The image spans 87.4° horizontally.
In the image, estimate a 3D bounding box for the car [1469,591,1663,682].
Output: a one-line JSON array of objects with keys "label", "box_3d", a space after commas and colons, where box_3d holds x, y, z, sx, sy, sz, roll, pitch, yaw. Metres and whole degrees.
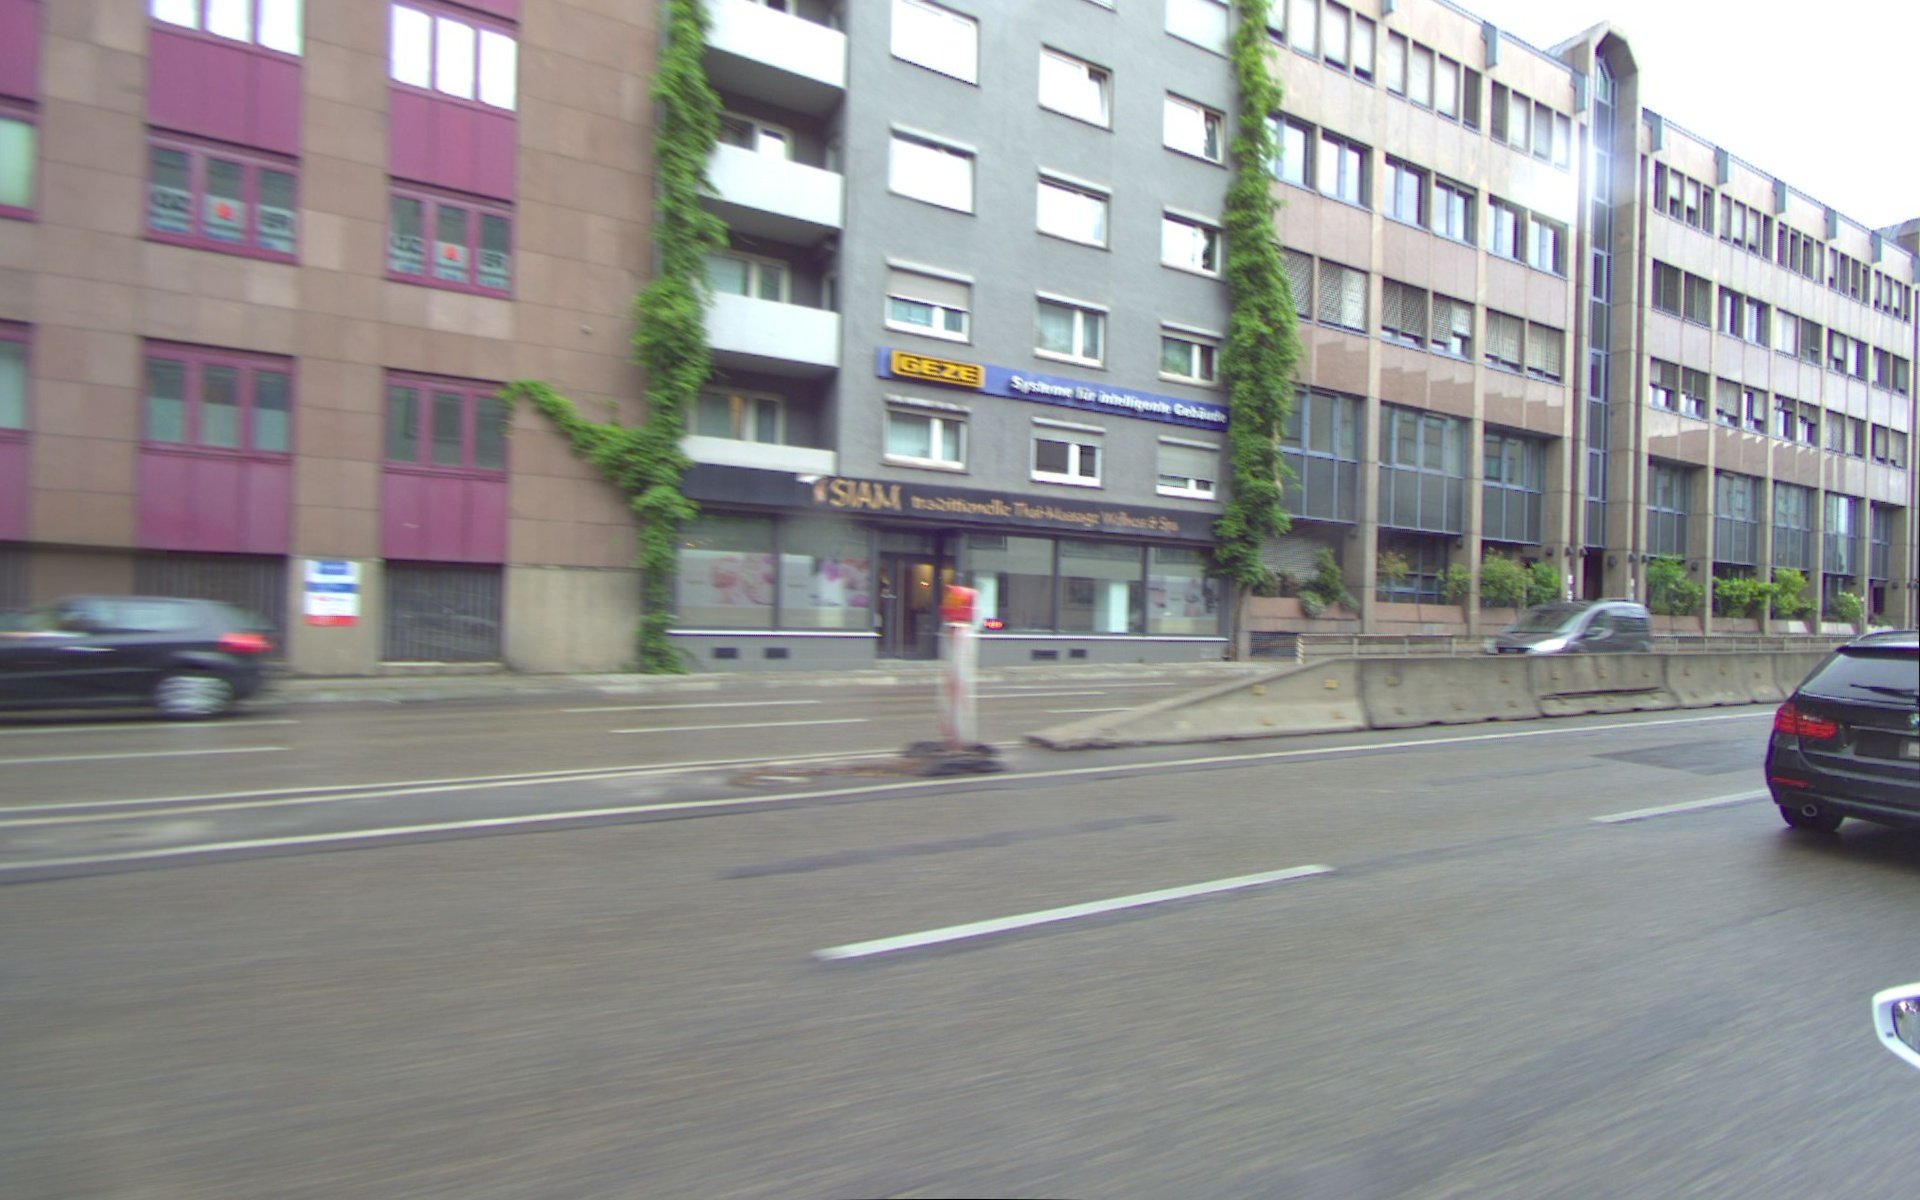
[{"label": "car", "box_3d": [13.135, 0.779, 21.718, 4.373, 1.794, 1.713, 1, -1, -30]}]

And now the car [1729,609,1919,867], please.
[{"label": "car", "box_3d": [7.419, 0.848, 6.938, 4.560, 1.445, 1.782, 1, 0, -31]}]

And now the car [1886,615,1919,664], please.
[{"label": "car", "box_3d": [32.278, 1.294, 32.866, 4.183, 1.553, 1.851, 1, -1, -32]}]

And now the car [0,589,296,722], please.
[{"label": "car", "box_3d": [-10.202, 0.611, 11.768, 3.978, 1.418, 1.689, 1, -1, -33]}]
